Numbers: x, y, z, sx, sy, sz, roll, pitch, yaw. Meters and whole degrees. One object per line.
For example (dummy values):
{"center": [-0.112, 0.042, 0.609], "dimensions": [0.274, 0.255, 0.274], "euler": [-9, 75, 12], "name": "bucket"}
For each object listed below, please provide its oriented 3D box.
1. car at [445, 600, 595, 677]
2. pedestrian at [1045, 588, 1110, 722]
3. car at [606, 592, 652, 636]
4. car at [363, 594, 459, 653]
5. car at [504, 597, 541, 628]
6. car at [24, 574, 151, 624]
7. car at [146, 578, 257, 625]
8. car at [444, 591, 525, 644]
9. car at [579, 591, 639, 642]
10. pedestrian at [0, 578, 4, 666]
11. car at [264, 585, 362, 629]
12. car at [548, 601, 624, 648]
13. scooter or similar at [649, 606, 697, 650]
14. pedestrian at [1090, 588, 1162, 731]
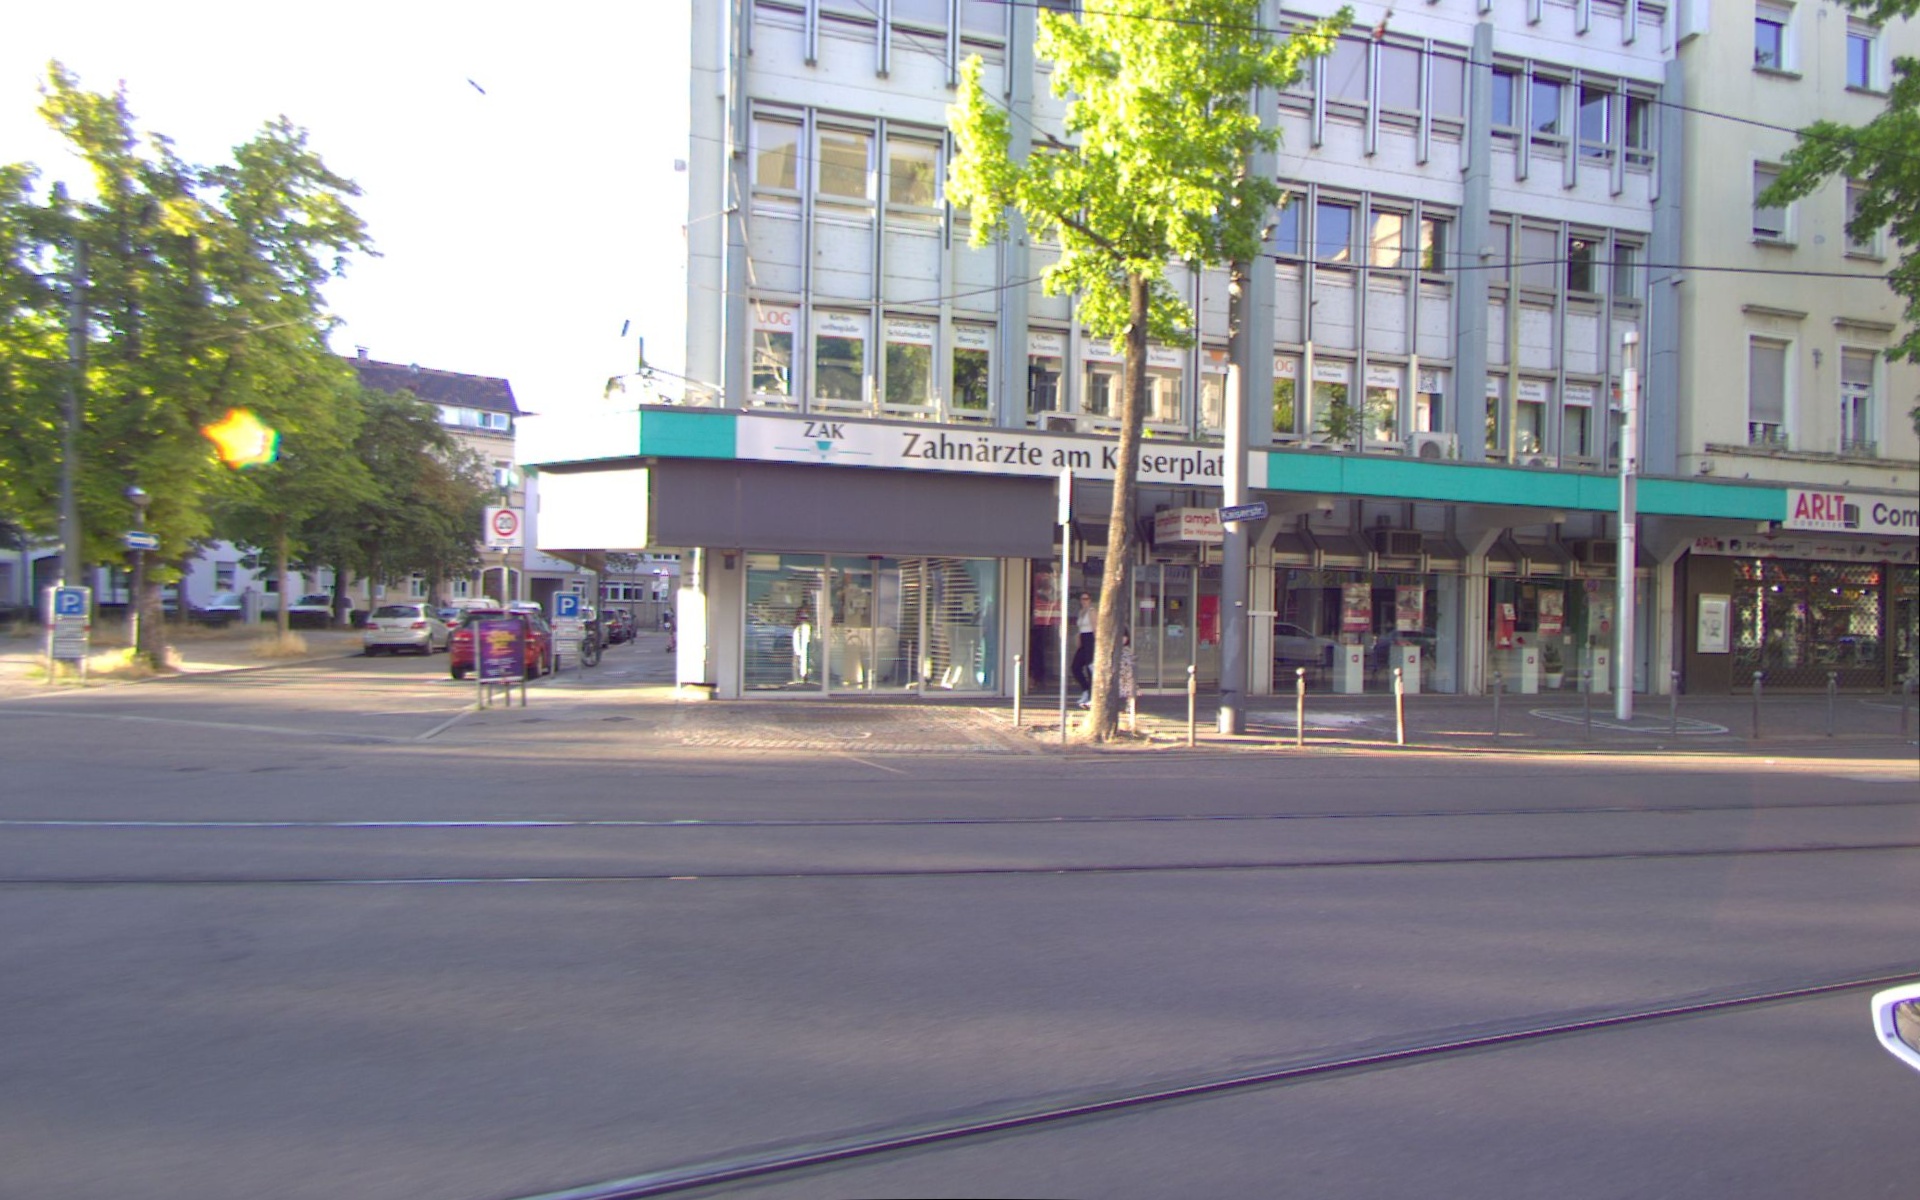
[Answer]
{"center": [-9.590, 0.783, 22.269], "dimensions": [1.990, 1.504, 3.994], "euler": [2, 0, -8], "name": "car"}
{"center": [1.847, 0.852, 15.847], "dimensions": [0.721, 2.040, 0.797], "euler": [2, 0, -14], "name": "pedestrian"}
{"center": [-16.316, 0.665, 49.708], "dimensions": [1.968, 2.040, 3.986], "euler": [2, -1, -16], "name": "car"}
{"center": [-17.171, 0.716, 31.606], "dimensions": [1.970, 1.706, 3.982], "euler": [2, -1, -20], "name": "car"}
{"center": [-29.888, 0.846, 68.716], "dimensions": [1.970, 2.040, 3.982], "euler": [2, -1, -20], "name": "car"}
{"center": [-38.550, -0.024, 44.529], "dimensions": [3.959, 2.040, 1.981], "euler": [2, 0, -34], "name": "car"}
{"center": [-35.329, 0.097, 46.931], "dimensions": [3.959, 2.040, 1.981], "euler": [2, 0, -34], "name": "car"}
{"center": [-19.832, 0.717, 42.056], "dimensions": [1.964, 2.040, 3.993], "euler": [2, 0, -9], "name": "car"}
{"center": [-15.094, 0.695, 43.411], "dimensions": [1.966, 2.040, 3.989], "euler": [2, -1, -13], "name": "car"}
{"center": [-19.357, 0.413, 19.261], "dimensions": [1.139, 1.725, 0.908], "euler": [2, -1, 2], "name": "pedestrian"}
{"center": [-31.787, 0.353, 49.430], "dimensions": [3.959, 2.040, 1.981], "euler": [2, 0, -34], "name": "car"}
{"center": [-13.669, 0.868, 36.926], "dimensions": [1.965, 1.550, 3.991], "euler": [2, -1, -11], "name": "car"}
{"center": [-9.712, 0.924, 34.028], "dimensions": [0.740, 1.417, 1.929], "euler": [2, 0, 10], "name": "scooter or similar"}
{"center": [2.428, 0.858, 14.759], "dimensions": [0.721, 2.040, 0.797], "euler": [2, 0, -14], "name": "pedestrian"}
